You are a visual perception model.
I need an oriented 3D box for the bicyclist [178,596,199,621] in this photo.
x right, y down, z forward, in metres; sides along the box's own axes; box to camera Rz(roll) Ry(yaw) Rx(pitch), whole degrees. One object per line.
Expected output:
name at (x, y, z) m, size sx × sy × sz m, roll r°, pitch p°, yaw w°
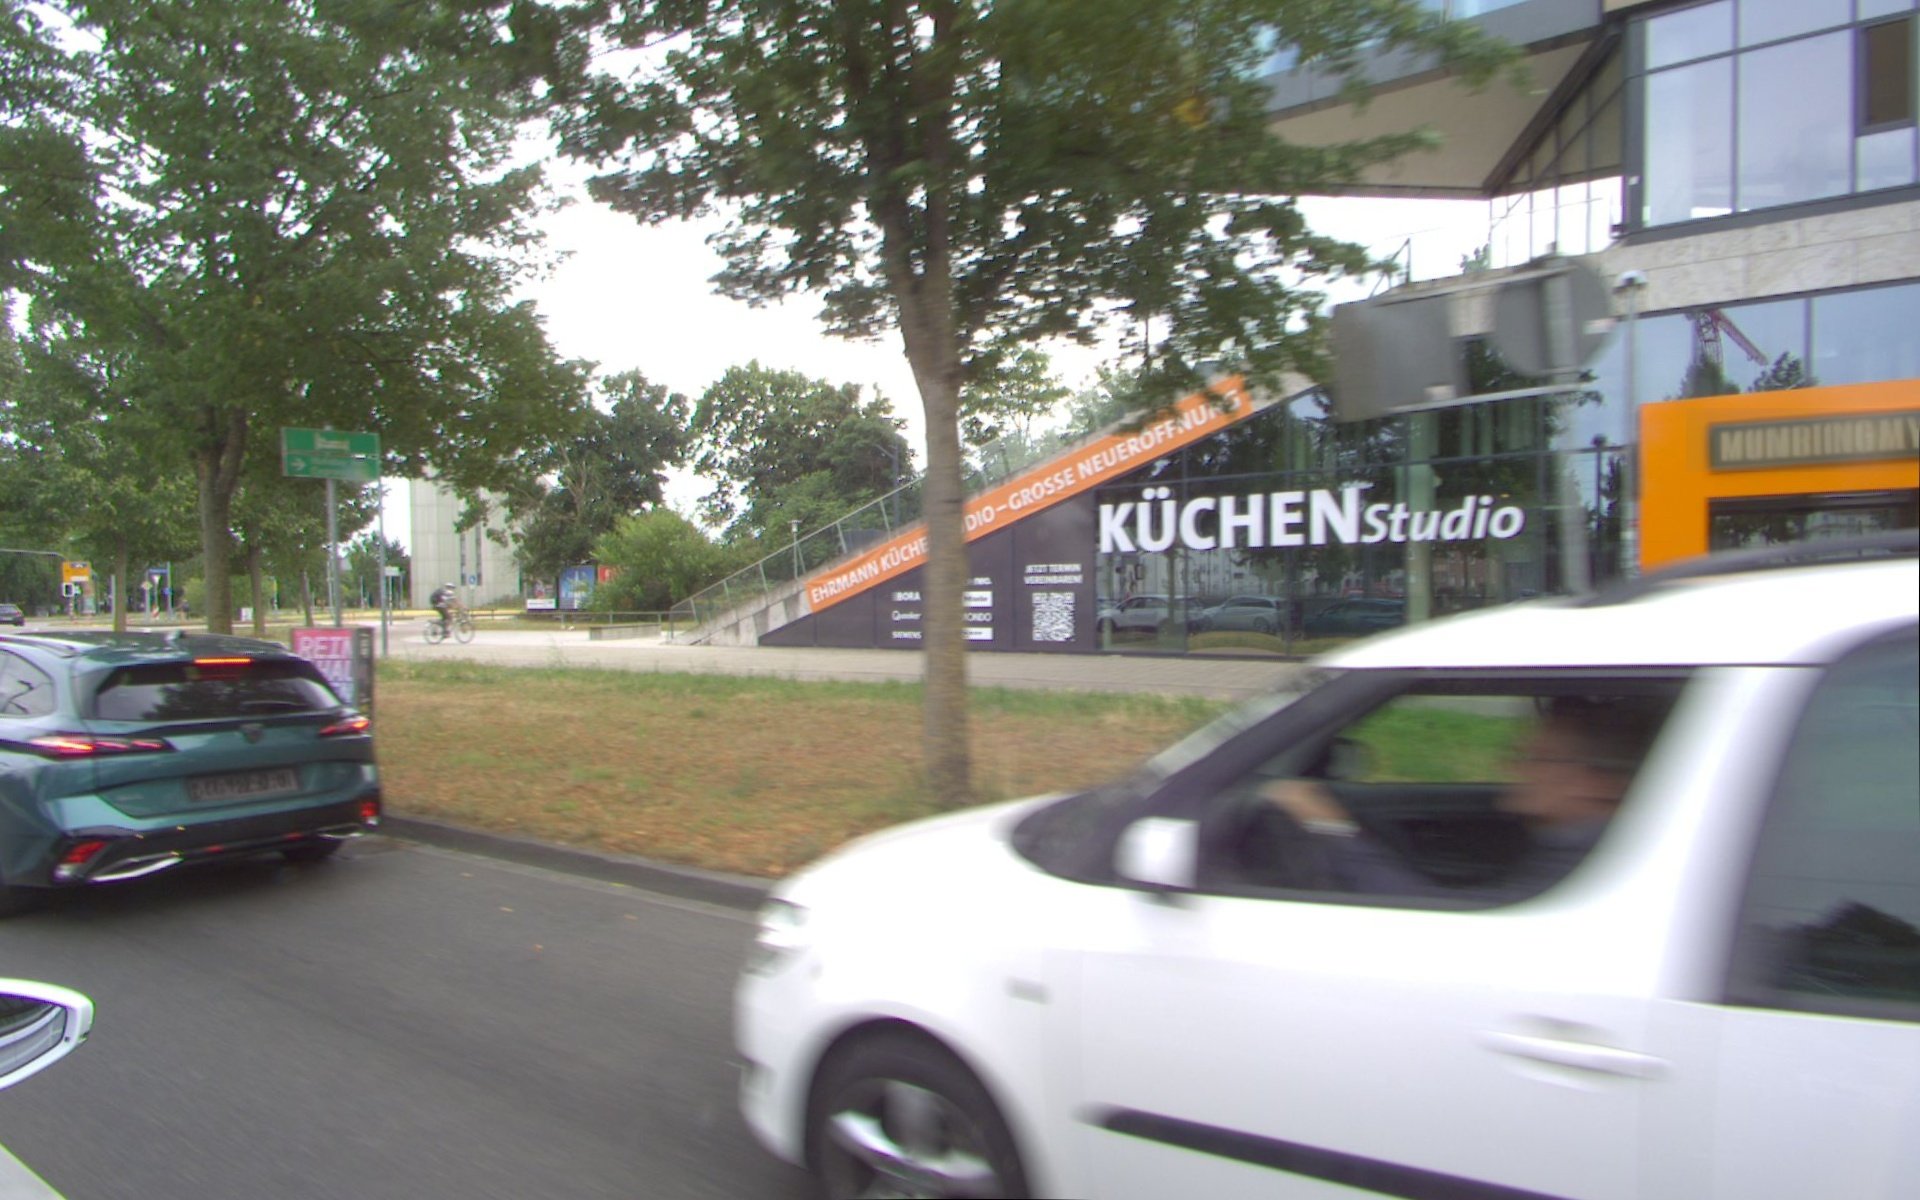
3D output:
bicyclist at (-57.273, 0.613, 74.358) m, size 1.157 × 1.812 × 0.865 m, roll 0°, pitch -2°, yaw 31°

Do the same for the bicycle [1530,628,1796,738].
bicycle at (6.844, 0.775, 9.896) m, size 2.075 × 0.968 × 0.629 m, roll 0°, pitch 1°, yaw 28°

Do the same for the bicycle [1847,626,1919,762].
bicycle at (9.923, 0.899, 9.405) m, size 2.234 × 1.251 × 0.900 m, roll 0°, pitch 1°, yaw 31°

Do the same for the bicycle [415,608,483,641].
bicycle at (-16.281, 0.761, 31.943) m, size 0.556 × 0.997 × 1.930 m, roll 0°, pitch 0°, yaw 31°

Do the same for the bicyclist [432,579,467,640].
bicyclist at (-16.258, 0.307, 31.916) m, size 0.724 × 1.911 × 0.727 m, roll 1°, pitch 1°, yaw 32°

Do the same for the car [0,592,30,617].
car at (-64.600, 0.274, 67.955) m, size 4.352 × 1.658 × 1.774 m, roll 0°, pitch 0°, yaw 42°

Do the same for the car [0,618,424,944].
car at (-5.572, 0.858, 6.358) m, size 4.244 × 1.450 × 1.786 m, roll 0°, pitch -1°, yaw 28°

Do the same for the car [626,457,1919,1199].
car at (1.281, 0.660, 2.266) m, size 3.966 × 1.678 × 1.775 m, roll 0°, pitch 0°, yaw 33°

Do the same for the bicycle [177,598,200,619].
bicycle at (-57.338, 0.627, 74.387) m, size 1.979 × 1.525 × 0.704 m, roll -1°, pitch -2°, yaw 33°
